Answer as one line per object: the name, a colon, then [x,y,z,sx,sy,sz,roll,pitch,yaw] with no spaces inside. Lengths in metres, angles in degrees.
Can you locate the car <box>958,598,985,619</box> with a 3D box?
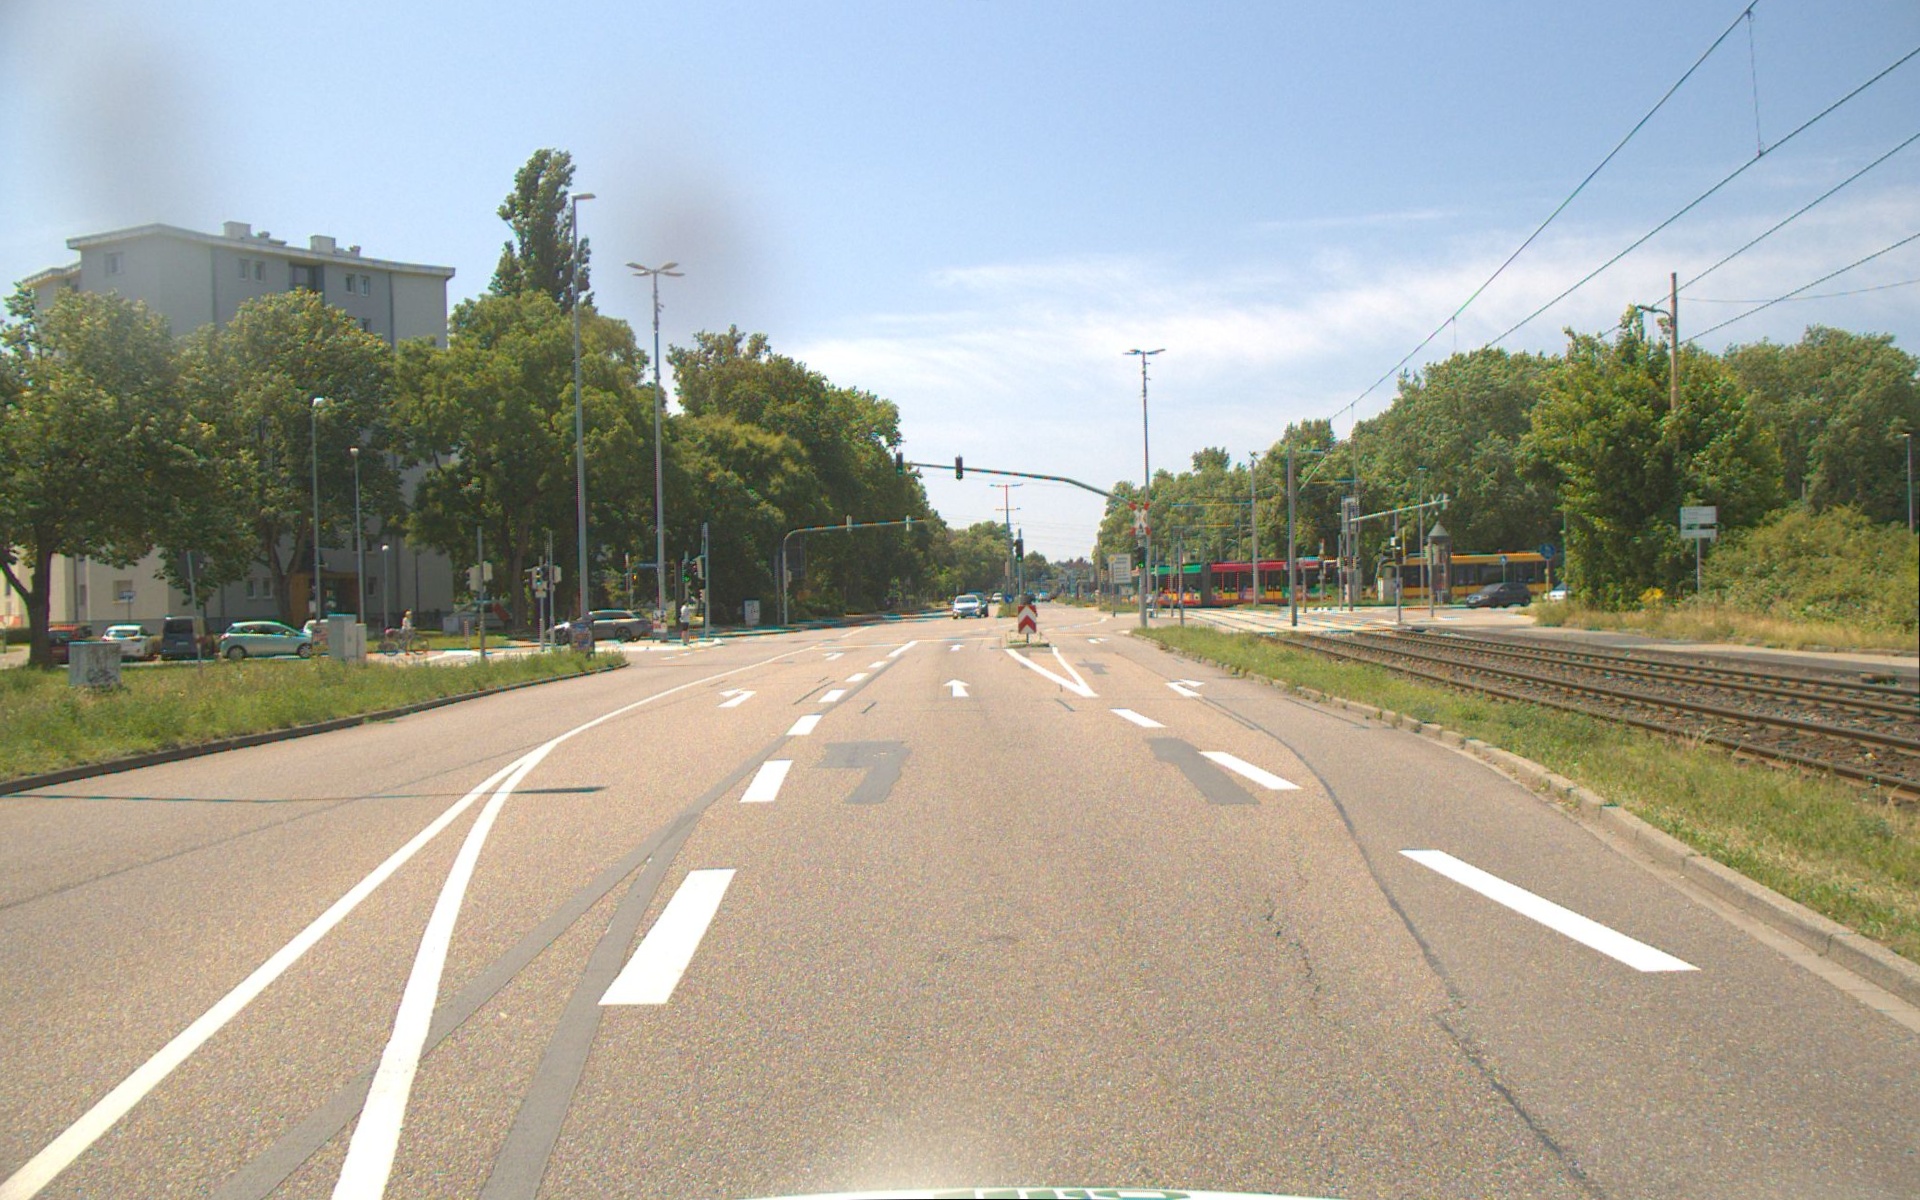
car: [0.827,0.588,114.145,1.675,1.389,3.866,-2,0,2]

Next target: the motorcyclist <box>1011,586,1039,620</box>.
motorcyclist: [3.191,0.145,81.119,0.777,1.671,1.206,-1,-1,37]

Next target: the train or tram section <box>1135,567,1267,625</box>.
train or tram section: [18.941,-0.242,131.383,2.884,3.879,12.935,1,-4,-31]

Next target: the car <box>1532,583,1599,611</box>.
car: [34.455,-0.160,94.077,3.759,1.488,1.621,-2,0,-33]

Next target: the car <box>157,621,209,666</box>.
car: [-33.916,1.869,72.252,1.679,1.832,3.976,0,0,-20]

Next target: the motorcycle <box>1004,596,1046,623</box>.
motorcycle: [3.177,0.455,81.046,0.833,1.277,2.439,-1,0,36]

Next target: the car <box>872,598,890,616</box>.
car: [-9.391,0.878,197.601,1.953,2.049,3.999,2,-1,-1]

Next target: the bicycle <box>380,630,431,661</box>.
bicycle: [-21.409,1.757,63.809,1.837,1.113,0.642,-1,0,-21]

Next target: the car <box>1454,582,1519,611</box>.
car: [30.519,-0.214,95.839,3.460,1.488,1.624,-3,0,-30]

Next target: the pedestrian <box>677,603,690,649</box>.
pedestrian: [-10.344,0.963,61.922,0.374,1.716,0.486,-1,0,-2]

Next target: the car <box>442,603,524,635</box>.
car: [-28.866,1.131,100.095,1.760,1.799,4.522,-2,0,42]

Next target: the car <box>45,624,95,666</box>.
car: [-38.373,1.930,71.353,1.825,1.697,3.963,-2,-1,-28]

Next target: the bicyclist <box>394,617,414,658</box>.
bicyclist: [-21.455,1.430,63.812,0.654,1.564,0.627,-1,0,-20]

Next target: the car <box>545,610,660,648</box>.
car: [-15.686,1.280,72.689,4.518,1.525,1.913,-2,0,3]

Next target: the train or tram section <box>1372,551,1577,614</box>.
train or tram section: [36.507,-1.179,117.828,13.702,3.988,2.925,-1,-3,17]

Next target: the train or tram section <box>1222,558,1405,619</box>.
train or tram section: [26.084,-0.754,122.779,13.183,3.879,2.913,-3,-4,36]

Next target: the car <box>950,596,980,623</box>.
car: [0.343,0.574,106.594,1.747,1.657,3.866,-2,0,2]

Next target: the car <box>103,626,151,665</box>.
car: [-36.076,1.945,71.692,1.682,1.620,3.969,0,0,-24]

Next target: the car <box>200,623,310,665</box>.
car: [-27.261,1.684,64.071,3.832,1.494,1.763,-2,0,-23]
